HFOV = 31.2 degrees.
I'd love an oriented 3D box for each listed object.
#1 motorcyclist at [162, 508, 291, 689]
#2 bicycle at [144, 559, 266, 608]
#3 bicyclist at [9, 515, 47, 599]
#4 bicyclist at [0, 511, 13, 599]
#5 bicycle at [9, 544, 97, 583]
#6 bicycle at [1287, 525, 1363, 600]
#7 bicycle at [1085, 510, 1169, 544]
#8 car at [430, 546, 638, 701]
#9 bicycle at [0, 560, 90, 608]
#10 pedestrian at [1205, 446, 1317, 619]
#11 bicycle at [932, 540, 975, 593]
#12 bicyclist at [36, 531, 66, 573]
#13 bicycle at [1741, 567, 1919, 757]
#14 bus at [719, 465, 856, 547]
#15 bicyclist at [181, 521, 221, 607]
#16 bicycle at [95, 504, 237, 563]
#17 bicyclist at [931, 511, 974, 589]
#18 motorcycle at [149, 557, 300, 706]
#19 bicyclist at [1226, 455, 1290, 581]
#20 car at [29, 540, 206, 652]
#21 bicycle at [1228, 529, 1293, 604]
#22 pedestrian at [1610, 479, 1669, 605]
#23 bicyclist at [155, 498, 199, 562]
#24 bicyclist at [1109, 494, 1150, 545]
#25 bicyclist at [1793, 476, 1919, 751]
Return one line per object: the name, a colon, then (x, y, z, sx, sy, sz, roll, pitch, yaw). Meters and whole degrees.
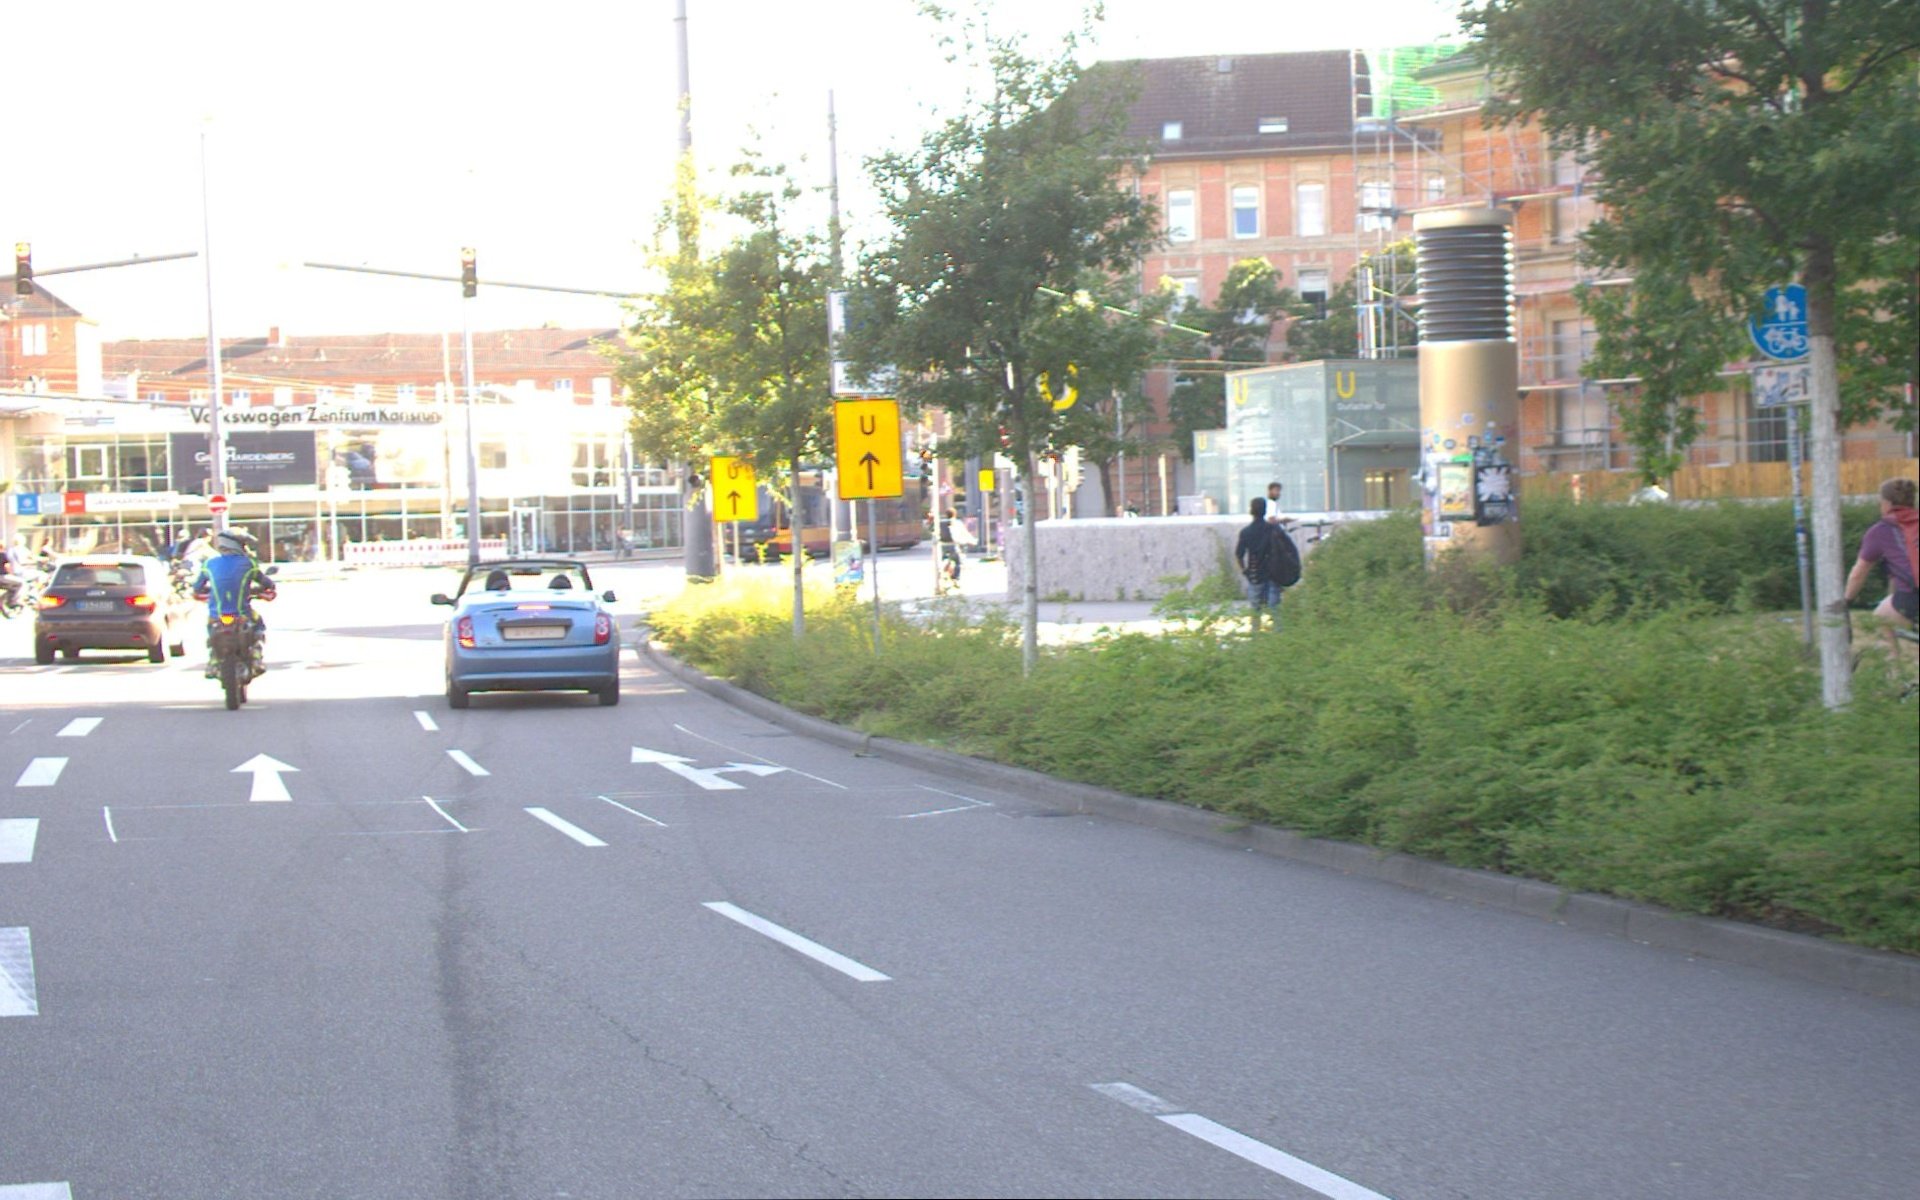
motorcyclist: (-7.108, -0.022, 33.361, 1.096, 1.715, 0.937, -1, 1, -5)
bicycle: (-15.263, -0.333, 69.512, 2.295, 0.902, 0.860, -1, 3, -21)
bicyclist: (-19.080, -0.888, 70.383, 0.649, 1.685, 0.860, -1, 3, -21)
bicyclist: (-19.702, -0.912, 70.155, 0.582, 1.771, 0.867, -2, 1, -21)
bicycle: (-25.996, -1.050, 98.528, 2.295, 0.956, 0.860, -3, 4, -22)
bicycle: (5.360, -0.558, 50.426, 0.627, 1.035, 1.961, -3, 1, 19)
bicycle: (5.237, -2.298, 107.965, 2.437, 1.000, 0.963, -2, 1, -21)
car: (-4.199, 0.187, 34.398, 1.800, 1.439, 3.979, 0, 1, -3)
bicycle: (-19.048, -0.330, 70.418, 2.295, 0.902, 0.860, -1, 3, -21)
pedestrian: (2.984, -0.674, 34.152, 0.805, 1.653, 0.790, -4, 2, -15)
bicycle: (-0.133, -0.705, 71.934, 0.789, 1.035, 1.963, -3, 1, 2)
bicyclist: (-26.046, -1.377, 98.491, 0.712, 1.139, 0.838, -1, 3, -23)
bicycle: (4.955, 0.307, 17.848, 0.719, 0.949, 2.250, -1, 0, -17)
bus: (-6.481, -3.621, 130.707, 2.356, 2.873, 9.573, 0, 3, 15)
bicyclist: (-15.336, -0.733, 69.469, 0.649, 1.685, 0.860, -1, 3, -21)
bicycle: (-23.879, -2.007, 103.415, 3.986, 1.684, 1.139, -2, 3, -24)
bicyclist: (-0.154, -1.045, 71.976, 0.789, 1.588, 0.947, -3, 1, 2)
motorcycle: (-7.097, 0.275, 33.327, 1.096, 1.372, 2.653, -1, 1, -5)
bicyclist: (4.339, -1.197, 50.164, 0.787, 1.780, 0.894, -3, 1, 2)
car: (-11.370, -0.086, 46.617, 1.800, 1.439, 3.979, 0, 1, -6)
bicycle: (4.384, -0.489, 50.222, 0.789, 1.035, 1.963, -3, 1, 2)
pedestrian: (9.082, -0.778, 45.926, 0.724, 1.653, 0.718, 1, 1, 13)
bicyclist: (-23.579, -2.121, 103.541, 1.070, 1.894, 1.123, -1, 3, -24)
bicyclist: (5.314, -2.530, 107.993, 0.923, 1.554, 0.963, -2, 1, -21)
bicyclist: (4.942, 0.067, 17.885, 0.719, 1.380, 1.076, -1, 0, -17)
